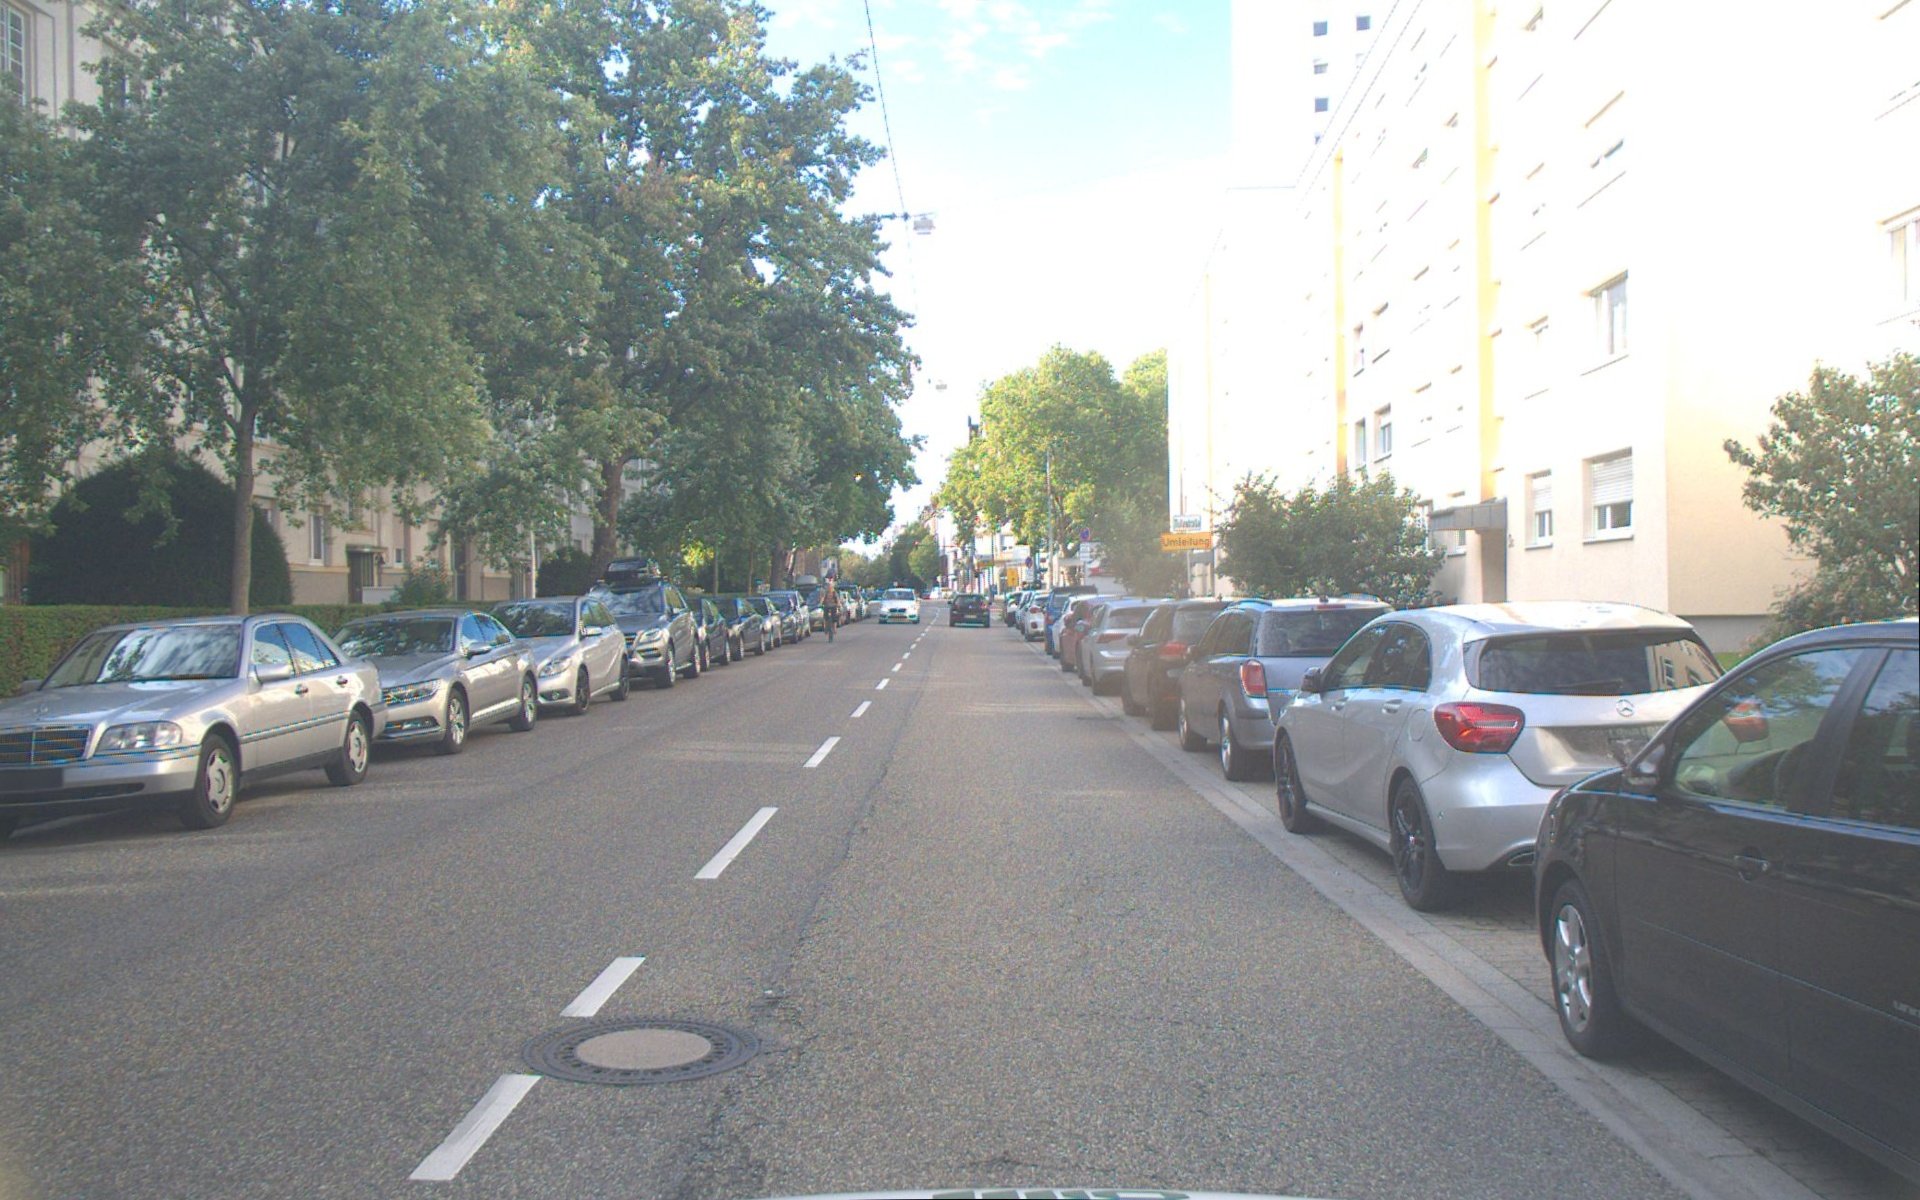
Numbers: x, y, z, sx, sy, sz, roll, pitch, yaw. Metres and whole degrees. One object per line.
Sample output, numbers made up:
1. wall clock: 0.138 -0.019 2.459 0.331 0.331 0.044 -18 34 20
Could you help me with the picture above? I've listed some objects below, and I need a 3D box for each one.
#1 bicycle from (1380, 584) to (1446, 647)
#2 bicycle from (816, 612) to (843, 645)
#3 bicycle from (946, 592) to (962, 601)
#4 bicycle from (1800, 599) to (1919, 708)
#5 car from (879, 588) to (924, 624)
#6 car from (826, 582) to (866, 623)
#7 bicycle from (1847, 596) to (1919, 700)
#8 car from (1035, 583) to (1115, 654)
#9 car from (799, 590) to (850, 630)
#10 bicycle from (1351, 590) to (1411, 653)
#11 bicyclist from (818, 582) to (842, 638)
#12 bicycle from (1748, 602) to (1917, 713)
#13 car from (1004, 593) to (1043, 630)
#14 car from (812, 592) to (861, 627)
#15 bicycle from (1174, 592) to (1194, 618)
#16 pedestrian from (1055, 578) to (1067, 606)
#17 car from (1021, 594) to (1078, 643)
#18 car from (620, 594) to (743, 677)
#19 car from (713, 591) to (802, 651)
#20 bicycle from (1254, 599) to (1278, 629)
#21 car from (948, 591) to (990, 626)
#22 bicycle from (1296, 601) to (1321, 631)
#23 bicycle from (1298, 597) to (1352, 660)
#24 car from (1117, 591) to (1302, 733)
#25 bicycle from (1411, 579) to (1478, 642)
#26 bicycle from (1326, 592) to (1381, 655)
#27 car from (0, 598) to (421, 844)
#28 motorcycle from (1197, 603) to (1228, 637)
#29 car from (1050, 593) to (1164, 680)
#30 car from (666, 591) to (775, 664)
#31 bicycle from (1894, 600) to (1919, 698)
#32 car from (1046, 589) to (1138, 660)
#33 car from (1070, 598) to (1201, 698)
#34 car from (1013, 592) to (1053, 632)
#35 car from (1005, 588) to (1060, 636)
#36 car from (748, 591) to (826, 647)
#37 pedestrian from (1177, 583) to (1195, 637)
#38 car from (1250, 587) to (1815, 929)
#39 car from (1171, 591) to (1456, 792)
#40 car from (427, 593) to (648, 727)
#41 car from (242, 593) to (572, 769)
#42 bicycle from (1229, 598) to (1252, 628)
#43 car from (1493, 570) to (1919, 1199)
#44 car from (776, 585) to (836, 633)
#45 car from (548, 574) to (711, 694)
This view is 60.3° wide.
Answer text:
1. bicycle: 9.901 0.319 36.233 0.711 1.313 2.635 -1 0 0
2. bicycle: -3.781 0.815 48.041 0.629 0.940 1.858 0 0 0
3. bicycle: -0.813 -0.457 211.949 1.988 1.101 0.618 -1 0 -14
4. bicycle: 9.629 0.524 17.365 0.491 1.048 2.095 -3 0 0
5. car: -2.626 0.262 74.691 1.820 1.555 4.011 -1 0 1
6. car: -5.693 0.113 83.171 1.688 1.915 4.191 -2 0 0
7. bicycle: 10.140 0.494 17.363 0.491 1.048 2.069 -3 0 0
8. car: 2.916 0.453 42.803 1.693 1.678 4.116 -2 0 -1
9. car: -5.619 0.385 68.809 1.665 1.512 3.848 -3 0 1
10. bicycle: 9.193 0.451 36.227 0.583 1.313 2.635 -3 0 0
11. bicyclist: -3.781 0.292 48.162 0.628 1.629 0.990 0 0 0
12. bicycle: 9.049 0.567 17.258 0.581 1.048 2.119 -3 0 0
13. car: 2.816 0.490 73.275 1.654 1.555 4.239 0 0 2
14. car: -5.764 0.434 77.732 1.659 1.519 4.334 -2 0 3
15. bicycle: 9.964 0.219 73.670 0.585 1.134 2.209 -2 0 0
16. pedestrian: 6.029 -0.496 98.849 0.639 1.674 0.743 0 0 0
17. car: 2.827 0.570 53.115 1.693 1.514 4.642 0 0 1
18. car: -5.749 0.695 34.570 1.650 1.506 4.120 -4 0 2
19. car: -5.434 0.530 44.867 1.567 1.443 3.966 -4 0 4
20. bicycle: 9.991 0.466 54.055 0.449 0.943 1.516 -2 0 -1
21. car: 0.405 0.332 71.022 1.715 1.438 4.001 0 0 1
22. bicycle: 11.406 0.508 54.189 0.449 0.943 1.516 -2 0 -1
23. bicycle: 7.979 0.595 36.220 0.591 1.313 2.635 -1 0 0
24. car: 2.958 0.689 20.346 1.628 1.517 3.941 -2 0 0
25. bicycle: 10.608 0.218 36.300 0.711 1.313 2.635 0 0 0
26. bicycle: 8.603 0.495 36.247 0.591 1.313 2.635 0 0 0
27. car: -5.682 0.753 12.435 1.703 1.417 4.665 -3 0 -1
28. motorcycle: 8.306 0.643 54.409 0.617 1.063 2.393 0 0 -1
29. car: 2.806 0.657 32.305 1.694 1.542 4.190 -2 0 -2
30. car: -5.630 0.609 39.422 1.650 1.506 4.453 -4 0 3
31. bicycle: 10.644 0.522 17.346 0.491 1.048 2.026 -3 0 0
32. car: 2.972 0.536 37.965 1.693 1.486 4.116 -2 0 -1
33. car: 2.770 0.717 26.785 1.628 1.440 4.058 -2 0 0
34. car: 2.966 0.477 67.812 1.519 1.584 3.468 0 0 0
35. car: 2.539 0.408 58.992 1.693 1.608 4.116 -2 0 -1
36. car: -5.138 0.536 49.504 1.580 1.493 4.015 -4 0 4
37. pedestrian: 7.257 0.318 53.136 0.530 1.751 0.772 0 0 5
38. car: 2.957 0.698 9.549 1.665 1.489 4.178 -2 0 -2
39. car: 3.029 0.701 15.036 1.649 1.511 4.293 -2 0 0
40. car: -5.736 0.748 23.036 1.817 1.600 4.460 -2 0 1
41. car: -5.736 0.744 17.890 1.817 1.512 4.944 -4 0 0
42. bicycle: 9.214 0.430 54.358 0.449 0.958 1.516 -2 0 -1
43. car: 2.889 0.684 4.338 1.649 1.527 3.873 -2 0 -1
44. car: -5.923 0.305 64.136 1.762 1.697 4.483 -3 0 1
45. car: -5.653 0.531 28.892 1.839 1.824 4.969 -3 0 -1
